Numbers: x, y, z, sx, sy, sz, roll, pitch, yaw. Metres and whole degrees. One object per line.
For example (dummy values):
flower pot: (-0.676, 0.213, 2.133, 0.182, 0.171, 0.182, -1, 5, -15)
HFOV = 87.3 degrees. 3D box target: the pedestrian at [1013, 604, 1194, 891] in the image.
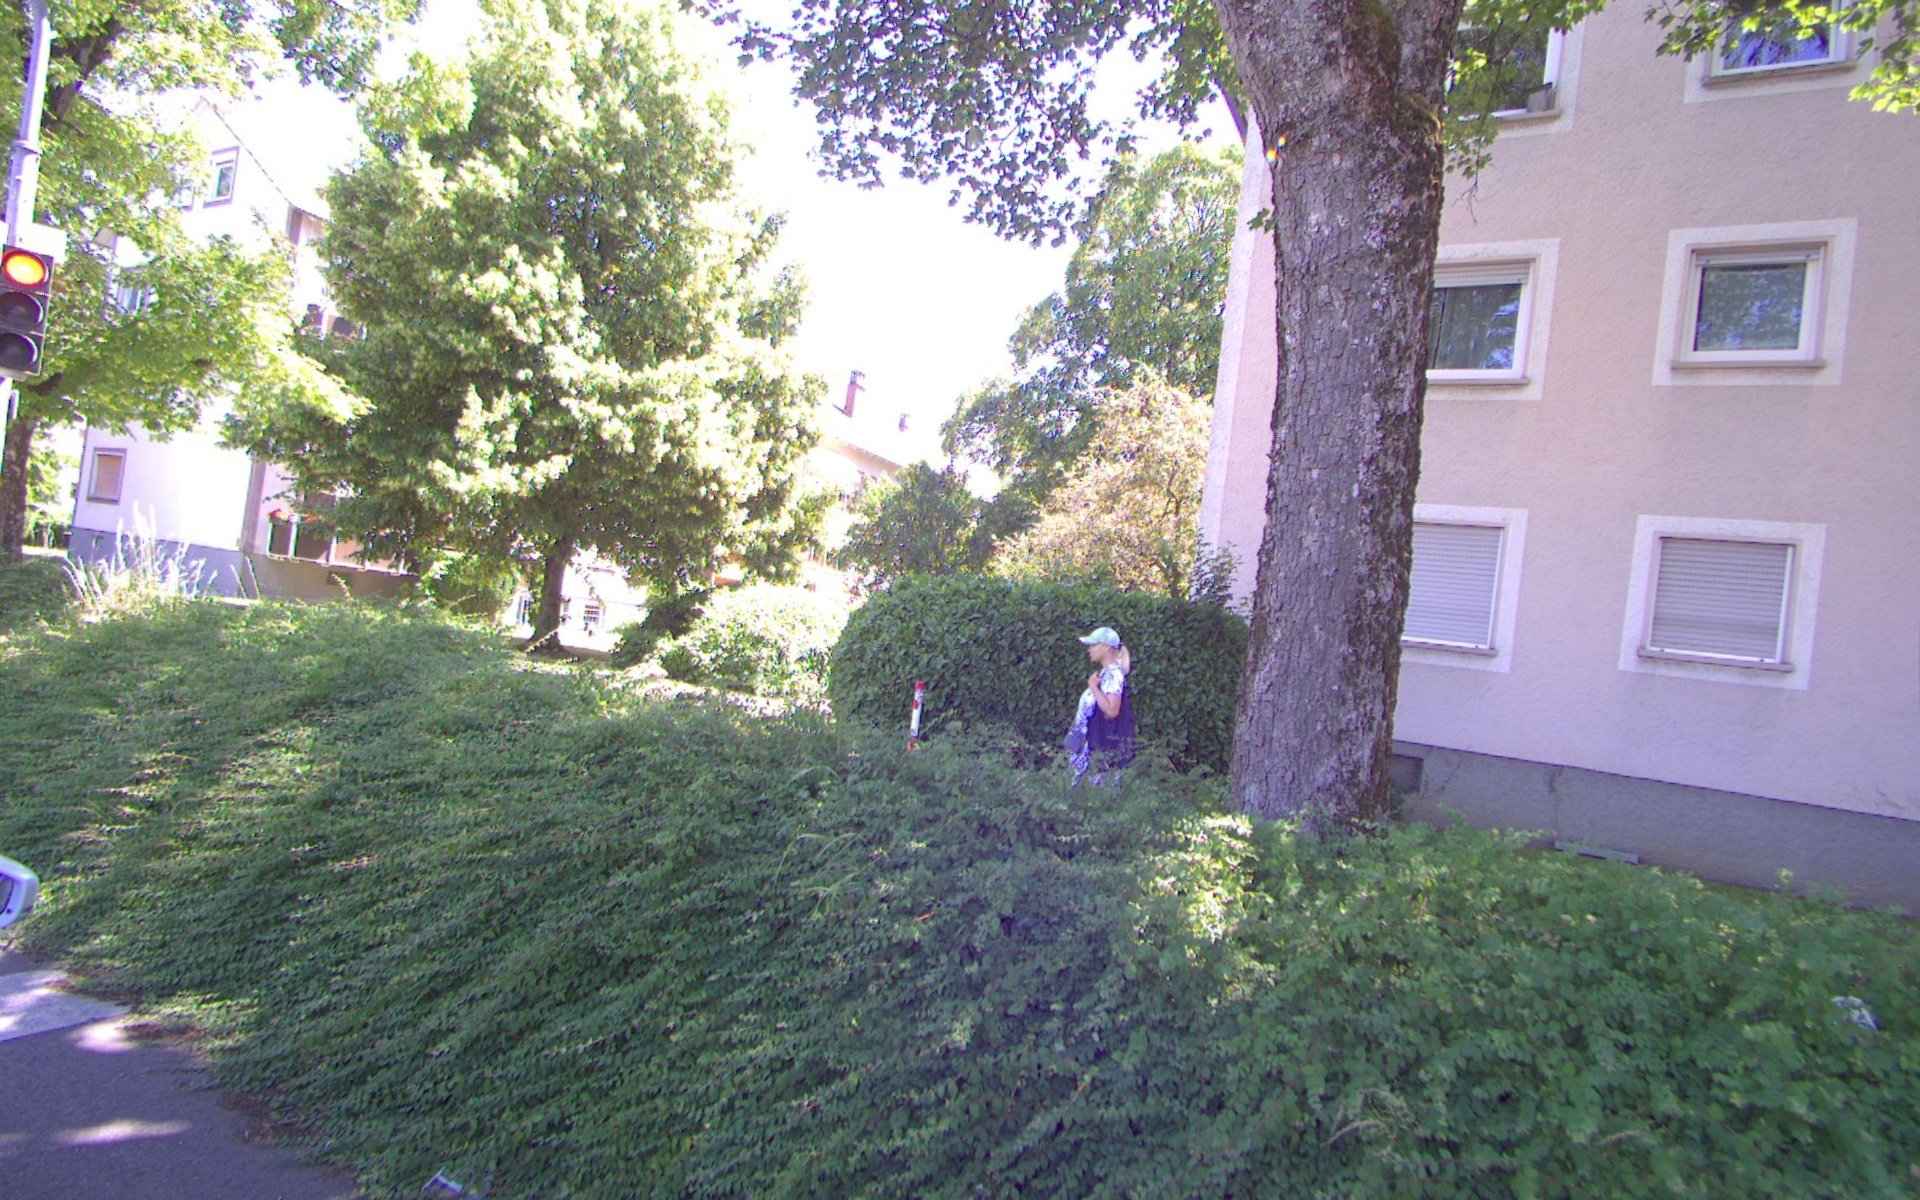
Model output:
pedestrian: (0.950, 0.920, 6.566, 0.836, 1.653, 0.720, 7, 0, 23)
